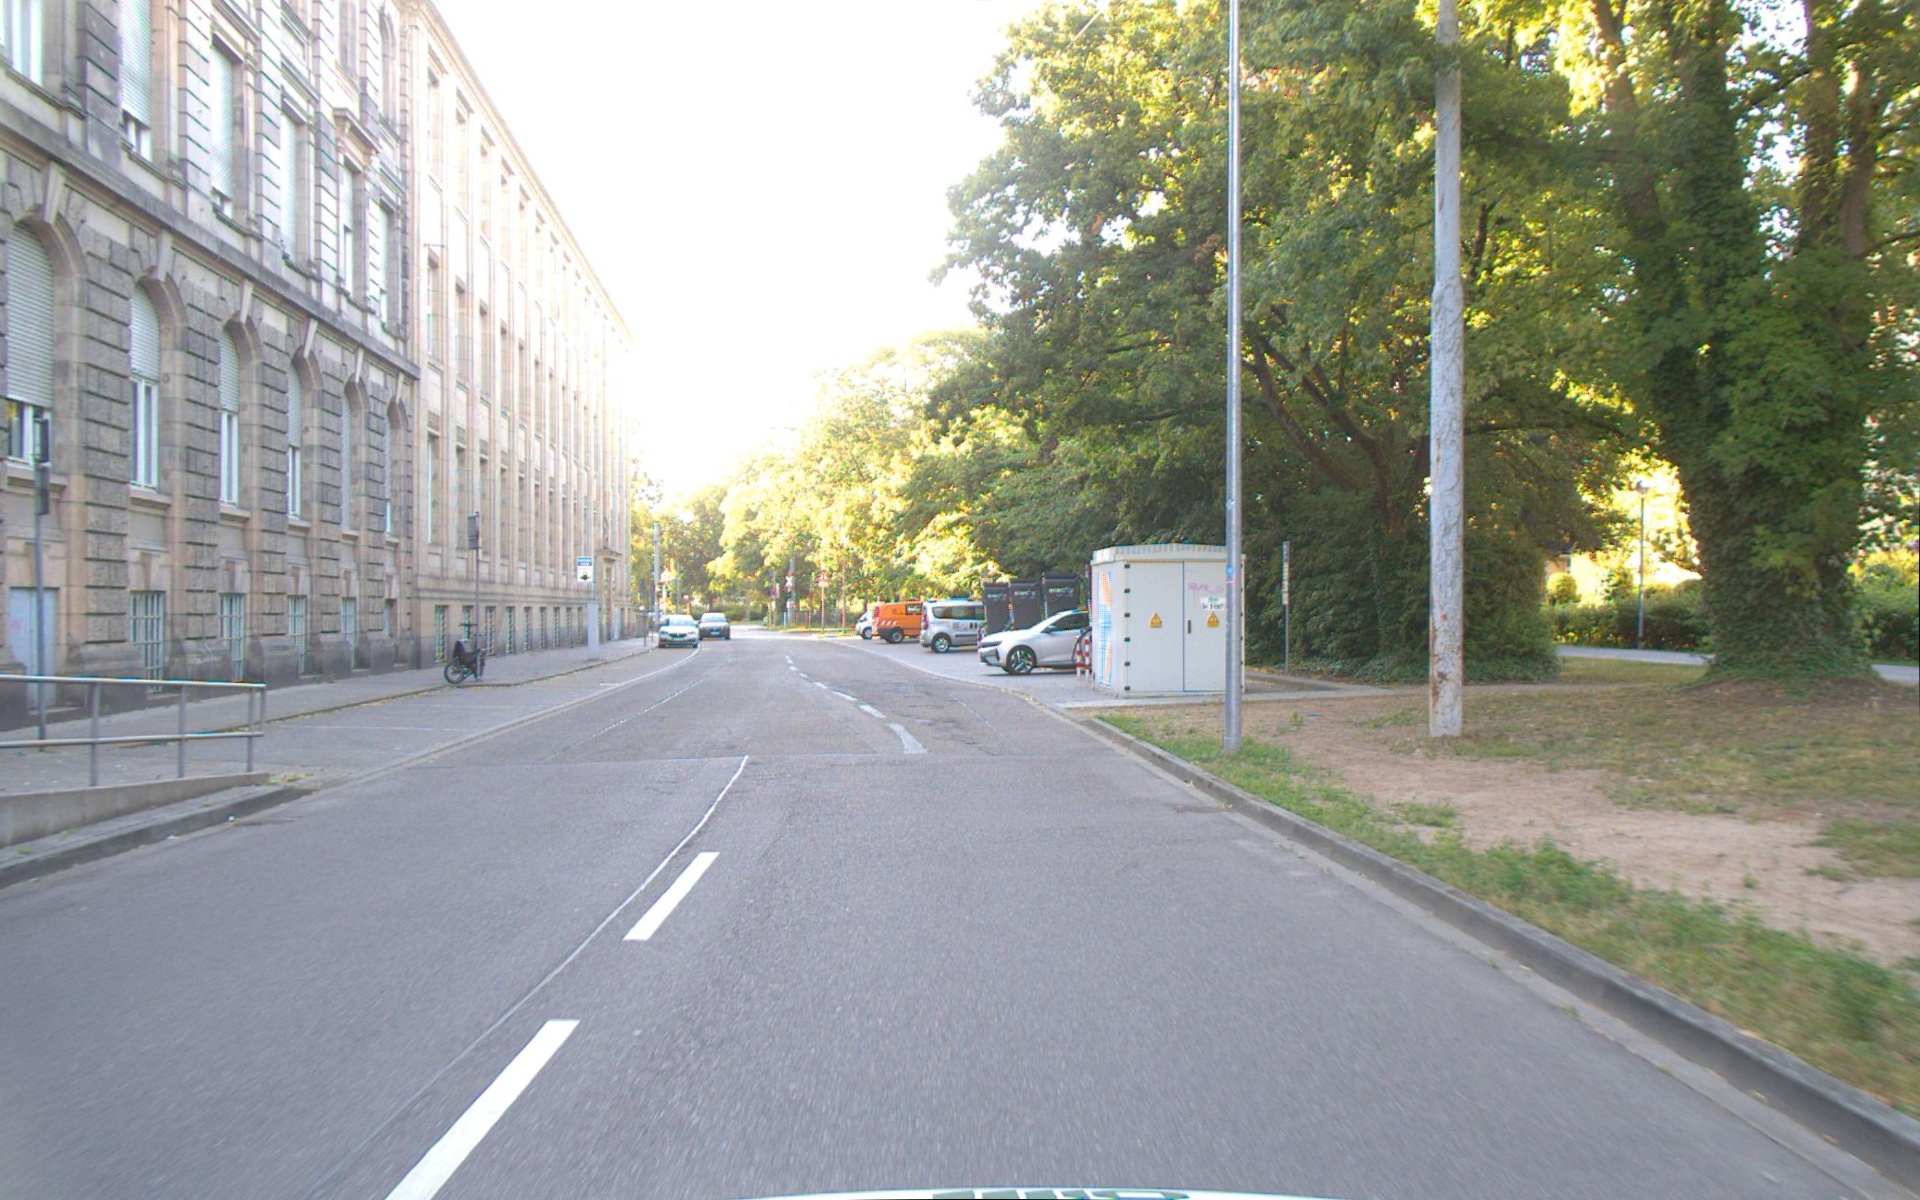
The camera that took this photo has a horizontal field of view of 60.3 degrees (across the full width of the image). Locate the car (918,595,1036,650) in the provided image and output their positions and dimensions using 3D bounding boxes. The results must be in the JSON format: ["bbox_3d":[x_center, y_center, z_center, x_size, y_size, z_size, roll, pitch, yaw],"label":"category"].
[{"bbox_3d":[0.597,0.835,61.430,4.147,1.892,1.998,-2,-1,-6],"label":"car"}]

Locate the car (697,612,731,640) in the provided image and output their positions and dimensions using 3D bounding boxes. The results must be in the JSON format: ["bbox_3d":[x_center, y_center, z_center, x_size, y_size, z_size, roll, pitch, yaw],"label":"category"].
[{"bbox_3d":[-13.847,1.455,93.084,1.844,1.492,4.364,0,0,-9],"label":"car"}]

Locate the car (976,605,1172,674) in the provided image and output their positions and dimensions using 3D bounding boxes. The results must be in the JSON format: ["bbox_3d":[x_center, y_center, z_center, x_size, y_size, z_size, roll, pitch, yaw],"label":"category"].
[{"bbox_3d":[2.674,0.919,39.326,4.357,1.495,1.779,-2,0,-7],"label":"car"}]

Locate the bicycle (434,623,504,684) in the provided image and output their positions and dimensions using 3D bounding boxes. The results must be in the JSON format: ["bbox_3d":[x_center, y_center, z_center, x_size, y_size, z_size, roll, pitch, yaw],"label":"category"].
[{"bbox_3d":[-9.674,1.041,32.662,0.835,1.121,1.981,1,-1,-2],"label":"bicycle"}]

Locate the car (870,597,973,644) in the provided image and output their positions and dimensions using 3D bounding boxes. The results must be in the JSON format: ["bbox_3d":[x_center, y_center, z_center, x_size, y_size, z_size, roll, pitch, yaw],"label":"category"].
[{"bbox_3d":[-1.883,0.976,80.557,4.736,2.049,1.796,-2,0,-13],"label":"car"}]

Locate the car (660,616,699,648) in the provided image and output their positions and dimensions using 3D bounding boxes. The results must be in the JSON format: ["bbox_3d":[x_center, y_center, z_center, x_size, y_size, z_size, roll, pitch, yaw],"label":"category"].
[{"bbox_3d":[-12.837,1.428,75.905,1.695,1.422,4.363,0,-1,-9],"label":"car"}]

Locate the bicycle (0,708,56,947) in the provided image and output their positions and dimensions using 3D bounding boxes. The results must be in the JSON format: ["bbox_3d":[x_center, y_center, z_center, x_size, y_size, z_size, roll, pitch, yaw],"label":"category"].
[{"bbox_3d":[-4.824,1.082,7.170,0.649,1.089,2.153,-1,0,-1],"label":"bicycle"}]

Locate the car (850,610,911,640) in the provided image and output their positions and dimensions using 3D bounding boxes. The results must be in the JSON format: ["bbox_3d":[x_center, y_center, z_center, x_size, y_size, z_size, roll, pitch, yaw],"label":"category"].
[{"bbox_3d":[-4.354,1.372,90.810,3.090,1.529,1.535,-2,0,-13],"label":"car"}]
